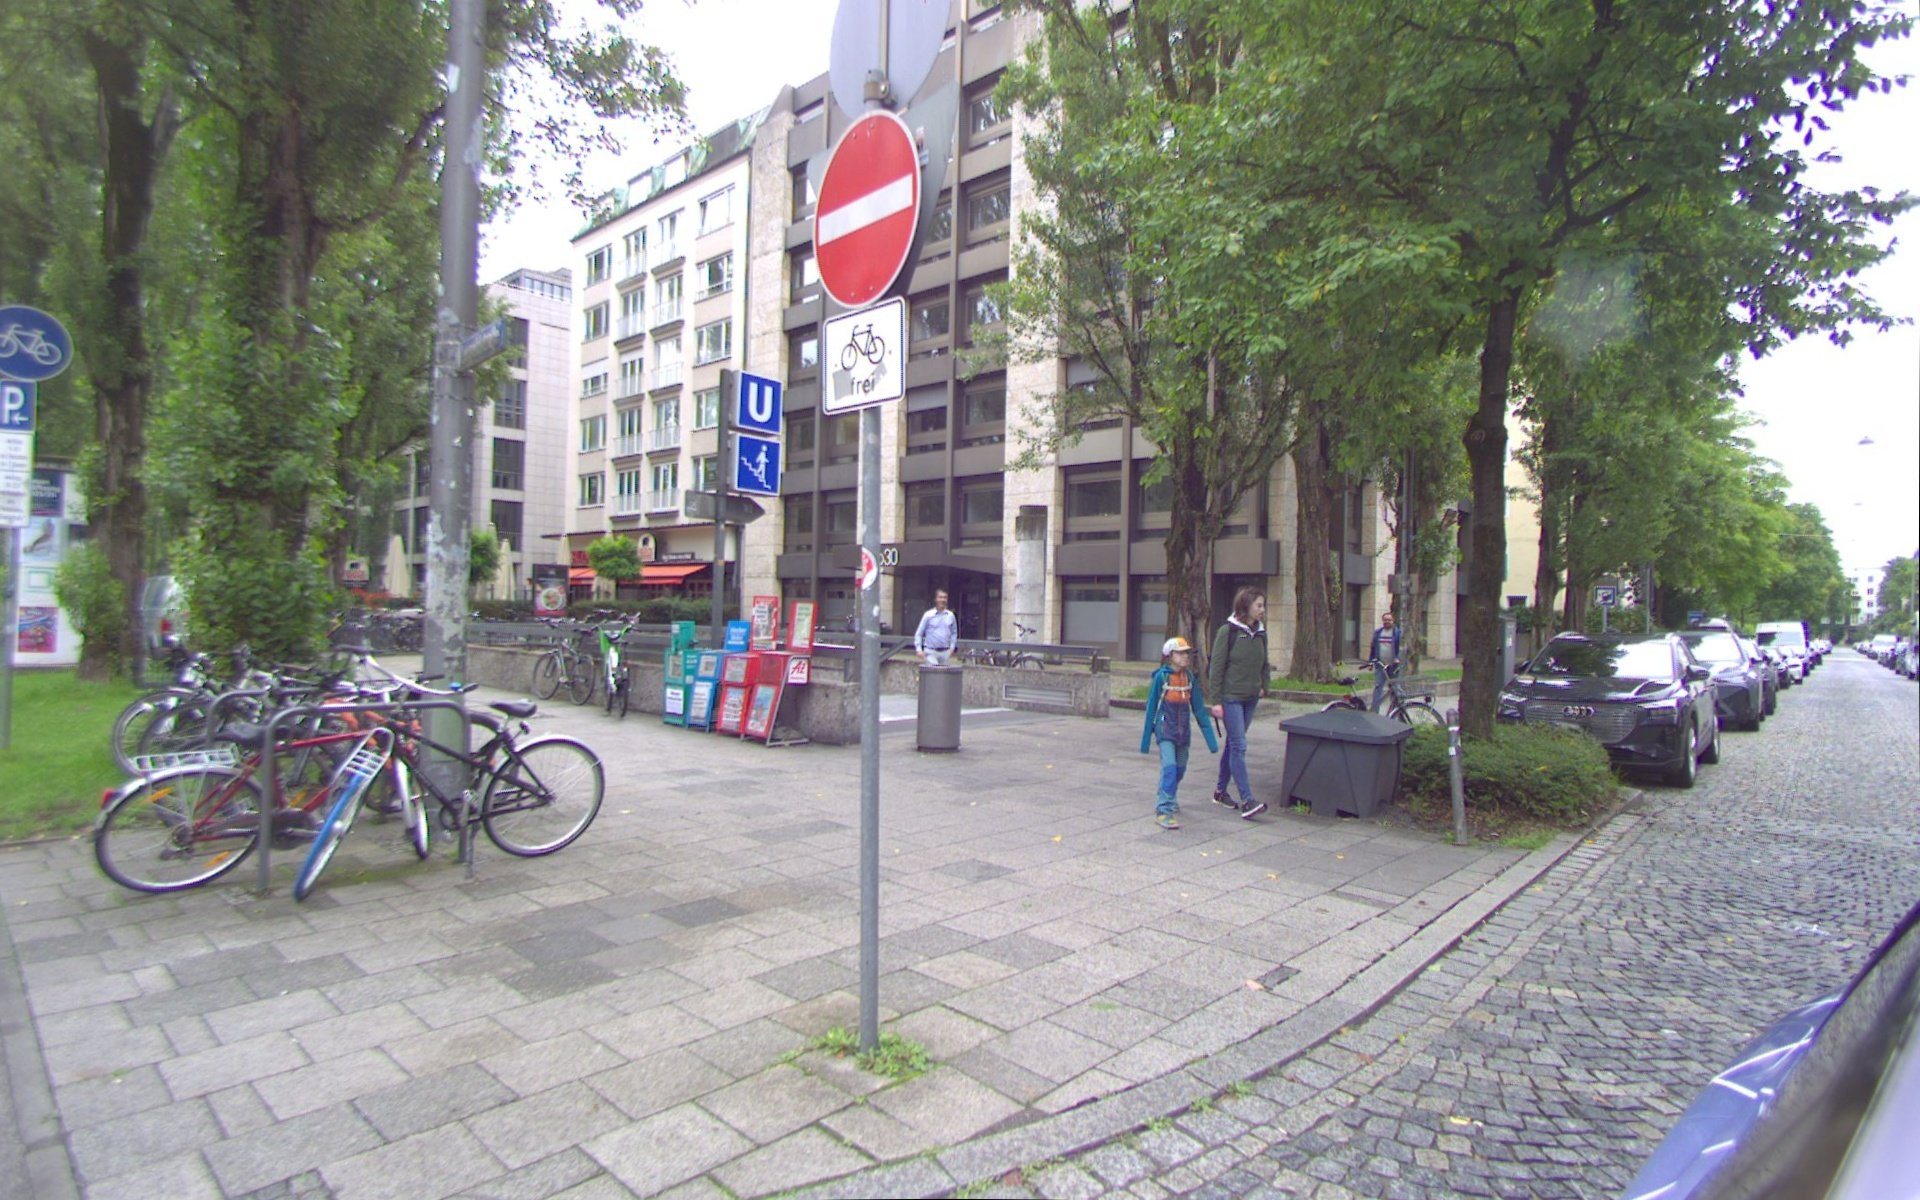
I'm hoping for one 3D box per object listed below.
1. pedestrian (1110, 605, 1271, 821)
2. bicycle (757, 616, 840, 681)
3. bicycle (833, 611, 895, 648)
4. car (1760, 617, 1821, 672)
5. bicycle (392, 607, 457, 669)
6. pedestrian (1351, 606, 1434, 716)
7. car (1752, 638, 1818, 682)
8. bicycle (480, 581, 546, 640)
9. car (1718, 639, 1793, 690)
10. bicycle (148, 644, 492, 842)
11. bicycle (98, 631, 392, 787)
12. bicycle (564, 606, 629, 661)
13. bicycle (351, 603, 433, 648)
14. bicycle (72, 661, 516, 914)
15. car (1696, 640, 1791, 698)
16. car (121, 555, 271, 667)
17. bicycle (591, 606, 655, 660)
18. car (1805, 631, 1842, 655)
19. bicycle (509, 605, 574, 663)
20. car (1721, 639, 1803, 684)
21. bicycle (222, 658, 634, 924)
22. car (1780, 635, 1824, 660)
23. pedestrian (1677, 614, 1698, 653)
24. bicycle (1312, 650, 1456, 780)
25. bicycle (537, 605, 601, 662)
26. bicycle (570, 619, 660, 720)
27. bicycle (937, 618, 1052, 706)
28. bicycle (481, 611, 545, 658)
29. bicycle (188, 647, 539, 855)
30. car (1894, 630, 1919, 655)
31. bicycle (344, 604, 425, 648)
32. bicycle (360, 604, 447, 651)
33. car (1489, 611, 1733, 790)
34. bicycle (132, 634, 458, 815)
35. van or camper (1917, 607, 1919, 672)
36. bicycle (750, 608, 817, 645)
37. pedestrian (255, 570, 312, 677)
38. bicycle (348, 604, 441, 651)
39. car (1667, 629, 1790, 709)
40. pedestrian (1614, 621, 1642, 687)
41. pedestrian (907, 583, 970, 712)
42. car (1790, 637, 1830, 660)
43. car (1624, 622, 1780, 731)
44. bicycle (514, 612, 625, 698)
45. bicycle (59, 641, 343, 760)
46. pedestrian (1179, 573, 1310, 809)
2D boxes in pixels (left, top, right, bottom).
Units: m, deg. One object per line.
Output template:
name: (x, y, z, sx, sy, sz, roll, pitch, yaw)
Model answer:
pedestrian: (1.659, 0.768, 7.323, 0.802, 1.437, 0.771, 2, -1, -32)
bicycle: (-3.142, 0.909, 19.585, 1.863, 1.175, 0.578, 0, -1, 45)
bicycle: (-3.195, 0.991, 33.954, 0.645, 1.170, 2.211, 0, -1, 42)
car: (39.265, 2.052, 47.846, 2.079, 2.464, 5.528, -1, -2, 40)
bicycle: (-10.902, 0.755, 20.581, 1.978, 1.175, 0.578, 0, -1, 45)
pedestrian: (7.089, 0.979, 16.599, 0.893, 1.736, 0.870, 2, -1, -28)
car: (31.324, 2.230, 38.467, 1.859, 1.518, 3.818, -1, -2, 39)
bicycle: (-9.367, 0.209, 21.174, 1.863, 1.175, 0.578, 0, -1, 45)
car: (24.433, 1.927, 31.046, 1.599, 1.449, 3.508, -2, -3, 41)
bicycle: (-4.114, 0.859, 6.642, 0.474, 1.064, 1.846, 0, 0, 44)
bicycle: (-5.502, 0.787, 7.874, 1.802, 1.051, 0.512, 1, -1, -42)
bicycle: (-8.110, 0.728, 22.538, 1.863, 1.175, 0.578, 0, -1, 45)
bicycle: (-15.577, 0.703, 27.786, 0.586, 1.174, 1.839, 1, -1, 45)
bicycle: (-3.364, 0.873, 5.285, 0.474, 1.064, 1.846, 0, -2, 44)
car: (21.432, 1.827, 27.610, 1.717, 1.408, 4.141, -3, -3, 42)
car: (-16.354, 0.144, 21.554, 5.190, 1.919, 1.785, 6, 3, 45)
bicycle: (-7.677, 0.731, 22.992, 1.863, 1.175, 0.578, 0, -1, 45)
car: (64.397, 3.188, 75.517, 1.990, 1.712, 3.818, -1, -2, 39)
bicycle: (-8.959, 0.703, 21.649, 1.863, 1.175, 0.578, 0, -1, 45)
car: (27.519, 2.066, 34.682, 1.992, 1.406, 3.815, -1, -2, 41)
bicycle: (-2.634, 0.872, 5.242, 0.473, 1.064, 1.851, 1, -1, 37)
car: (51.499, 2.883, 61.925, 1.990, 1.406, 3.818, -1, -2, 39)
pedestrian: (29.846, 1.355, 41.533, 0.643, 1.557, 0.699, 0, -1, 39)
bicycle: (4.204, 1.078, 9.963, 1.842, 1.151, 0.475, 2, -1, -39)
bicycle: (-8.547, 0.718, 22.087, 1.863, 1.175, 0.578, 0, -1, 45)
bicycle: (-4.481, 0.848, 13.069, 0.576, 1.175, 1.869, 2, -1, -35)
bicycle: (0.534, 0.967, 16.393, 1.863, 1.293, 0.710, 0, -1, 44)
bicycle: (-12.127, 0.927, 27.430, 1.853, 1.174, 0.581, 1, -1, 29)
bicycle: (-3.680, 0.869, 6.388, 0.474, 1.064, 1.846, 0, 0, 44)
car: (100.815, 4.505, 107.510, 2.080, 2.464, 5.528, 0, -1, 40)
bicycle: (-16.029, 0.728, 28.231, 0.586, 1.175, 1.839, 0, -2, 45)
bicycle: (-14.216, 0.700, 25.881, 0.586, 1.175, 1.839, 0, -1, 45)
car: (7.850, 1.034, 12.033, 1.918, 1.722, 4.139, 0, -2, 40)
bicycle: (-4.752, 0.825, 7.360, 0.511, 1.119, 1.901, 0, -1, 42)
van or camper: (44.929, 1.826, 45.441, 2.455, 3.086, 7.209, 1, -1, 40)
bicycle: (-5.732, 0.865, 32.961, 0.645, 1.170, 2.211, 0, -1, 42)
pedestrian: (-12.200, 0.414, 18.238, 0.689, 1.864, 0.705, 2, -1, -44)
bicycle: (-14.647, 0.706, 26.274, 0.586, 1.175, 1.999, 0, -1, 45)
car: (17.484, 1.479, 22.944, 1.991, 1.603, 4.277, 0, -2, 40)
pedestrian: (16.975, 1.366, 25.723, 0.559, 1.649, 0.489, 2, -2, -44)
pedestrian: (-0.309, 0.652, 14.059, 0.698, 1.746, 0.671, 2, -1, -15)
car: (57.088, 3.233, 68.017, 1.990, 1.405, 3.818, 1, -1, 39)
car: (13.810, 1.302, 18.727, 2.010, 1.722, 4.603, 0, -2, 40)
bicycle: (-5.800, 0.780, 14.992, 1.857, 1.175, 0.580, 1, -1, 35)
bicycle: (-6.124, 0.773, 8.247, 1.802, 0.828, 0.471, 1, -1, -42)
pedestrian: (2.200, 0.672, 7.855, 0.651, 1.722, 0.691, 2, -1, -31)
